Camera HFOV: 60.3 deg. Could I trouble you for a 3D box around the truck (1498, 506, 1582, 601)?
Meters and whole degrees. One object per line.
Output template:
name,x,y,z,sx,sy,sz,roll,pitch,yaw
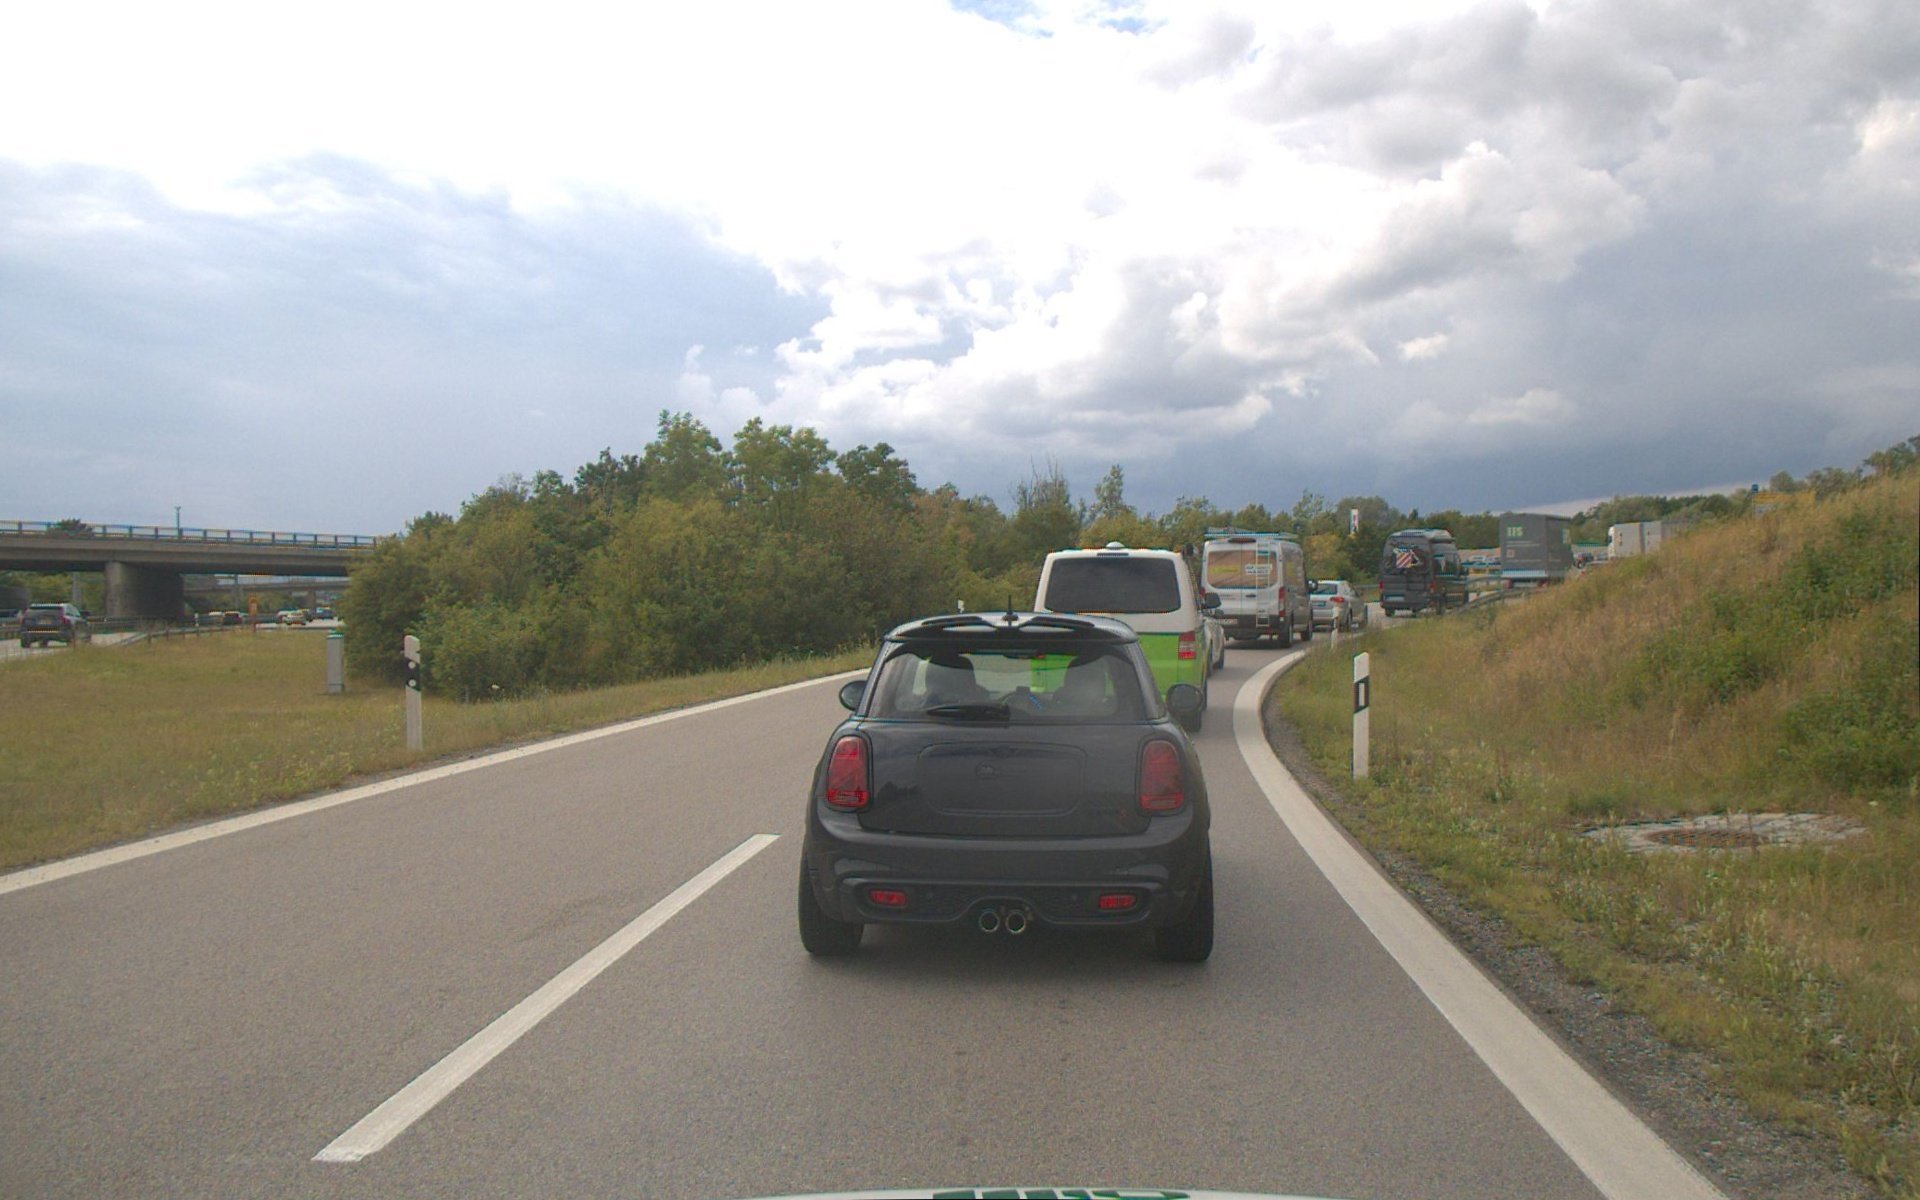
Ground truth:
truck,26.586,-2.040,75.624,2.190,3.975,5.997,0,-2,34

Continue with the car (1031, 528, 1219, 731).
car,1.984,0.306,18.824,1.746,2.049,4.003,1,-1,11

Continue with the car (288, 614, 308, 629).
car,-68.605,2.186,171.357,1.691,1.545,3.977,-1,0,-19

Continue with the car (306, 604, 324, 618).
car,-87.908,1.515,225.365,1.962,1.774,4.804,-1,0,-18

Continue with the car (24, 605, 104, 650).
car,-37.230,1.124,68.843,1.962,1.792,4.901,0,0,-17

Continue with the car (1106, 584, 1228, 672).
car,3.663,0.472,28.784,1.724,1.423,3.728,0,0,13

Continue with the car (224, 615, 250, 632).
car,-66.851,2.175,152.945,1.808,1.478,4.354,0,0,-19

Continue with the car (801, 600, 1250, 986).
car,0.347,0.744,8.143,1.691,1.438,3.726,1,-1,3

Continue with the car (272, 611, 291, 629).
car,-80.401,2.368,196.077,1.965,2.049,3.974,2,-1,-21

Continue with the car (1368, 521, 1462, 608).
car,15.742,-1.182,57.123,2.067,2.845,3.990,1,0,32

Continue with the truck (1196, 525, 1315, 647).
truck,7.133,-0.335,39.477,2.132,2.705,5.111,0,0,18

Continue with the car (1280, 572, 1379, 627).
car,10.676,0.003,47.620,1.830,1.536,3.995,0,-1,28
